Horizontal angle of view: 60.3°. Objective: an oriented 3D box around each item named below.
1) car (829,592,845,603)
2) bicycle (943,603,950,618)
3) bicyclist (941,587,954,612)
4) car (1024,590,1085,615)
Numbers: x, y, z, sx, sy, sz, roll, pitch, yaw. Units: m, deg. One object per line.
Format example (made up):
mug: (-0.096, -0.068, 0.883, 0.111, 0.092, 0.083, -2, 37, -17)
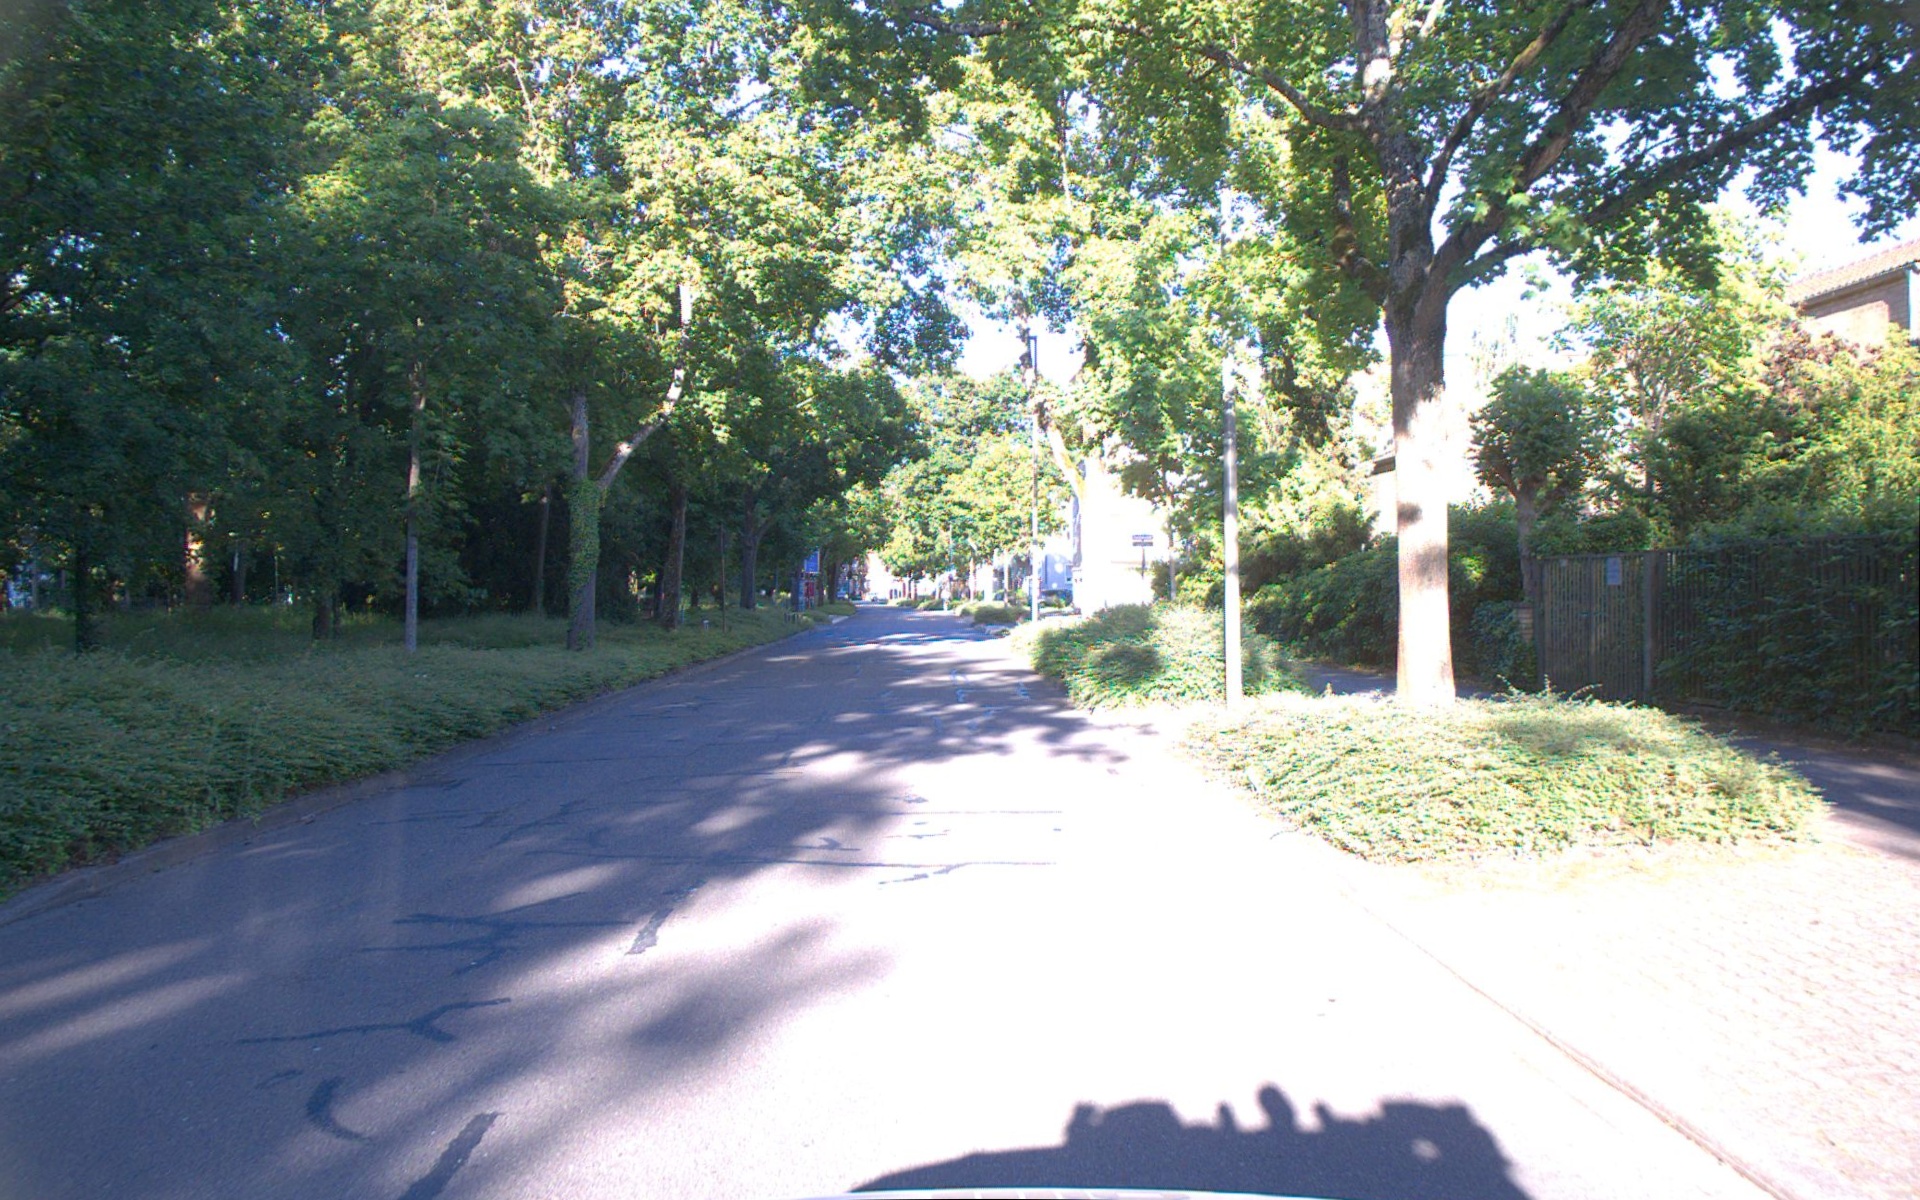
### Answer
car: (-17.429, -0.366, 234.517, 1.958, 1.378, 3.531, 1, 0, -11)
bicycle: (-0.924, 0.694, 111.584, 0.430, 0.995, 1.661, 0, 1, -1)
bicyclist: (-0.866, -0.056, 111.549, 0.849, 1.669, 1.114, 1, 1, -2)
car: (6.819, 0.166, 119.237, 4.259, 1.377, 2.145, 3, 4, 5)
